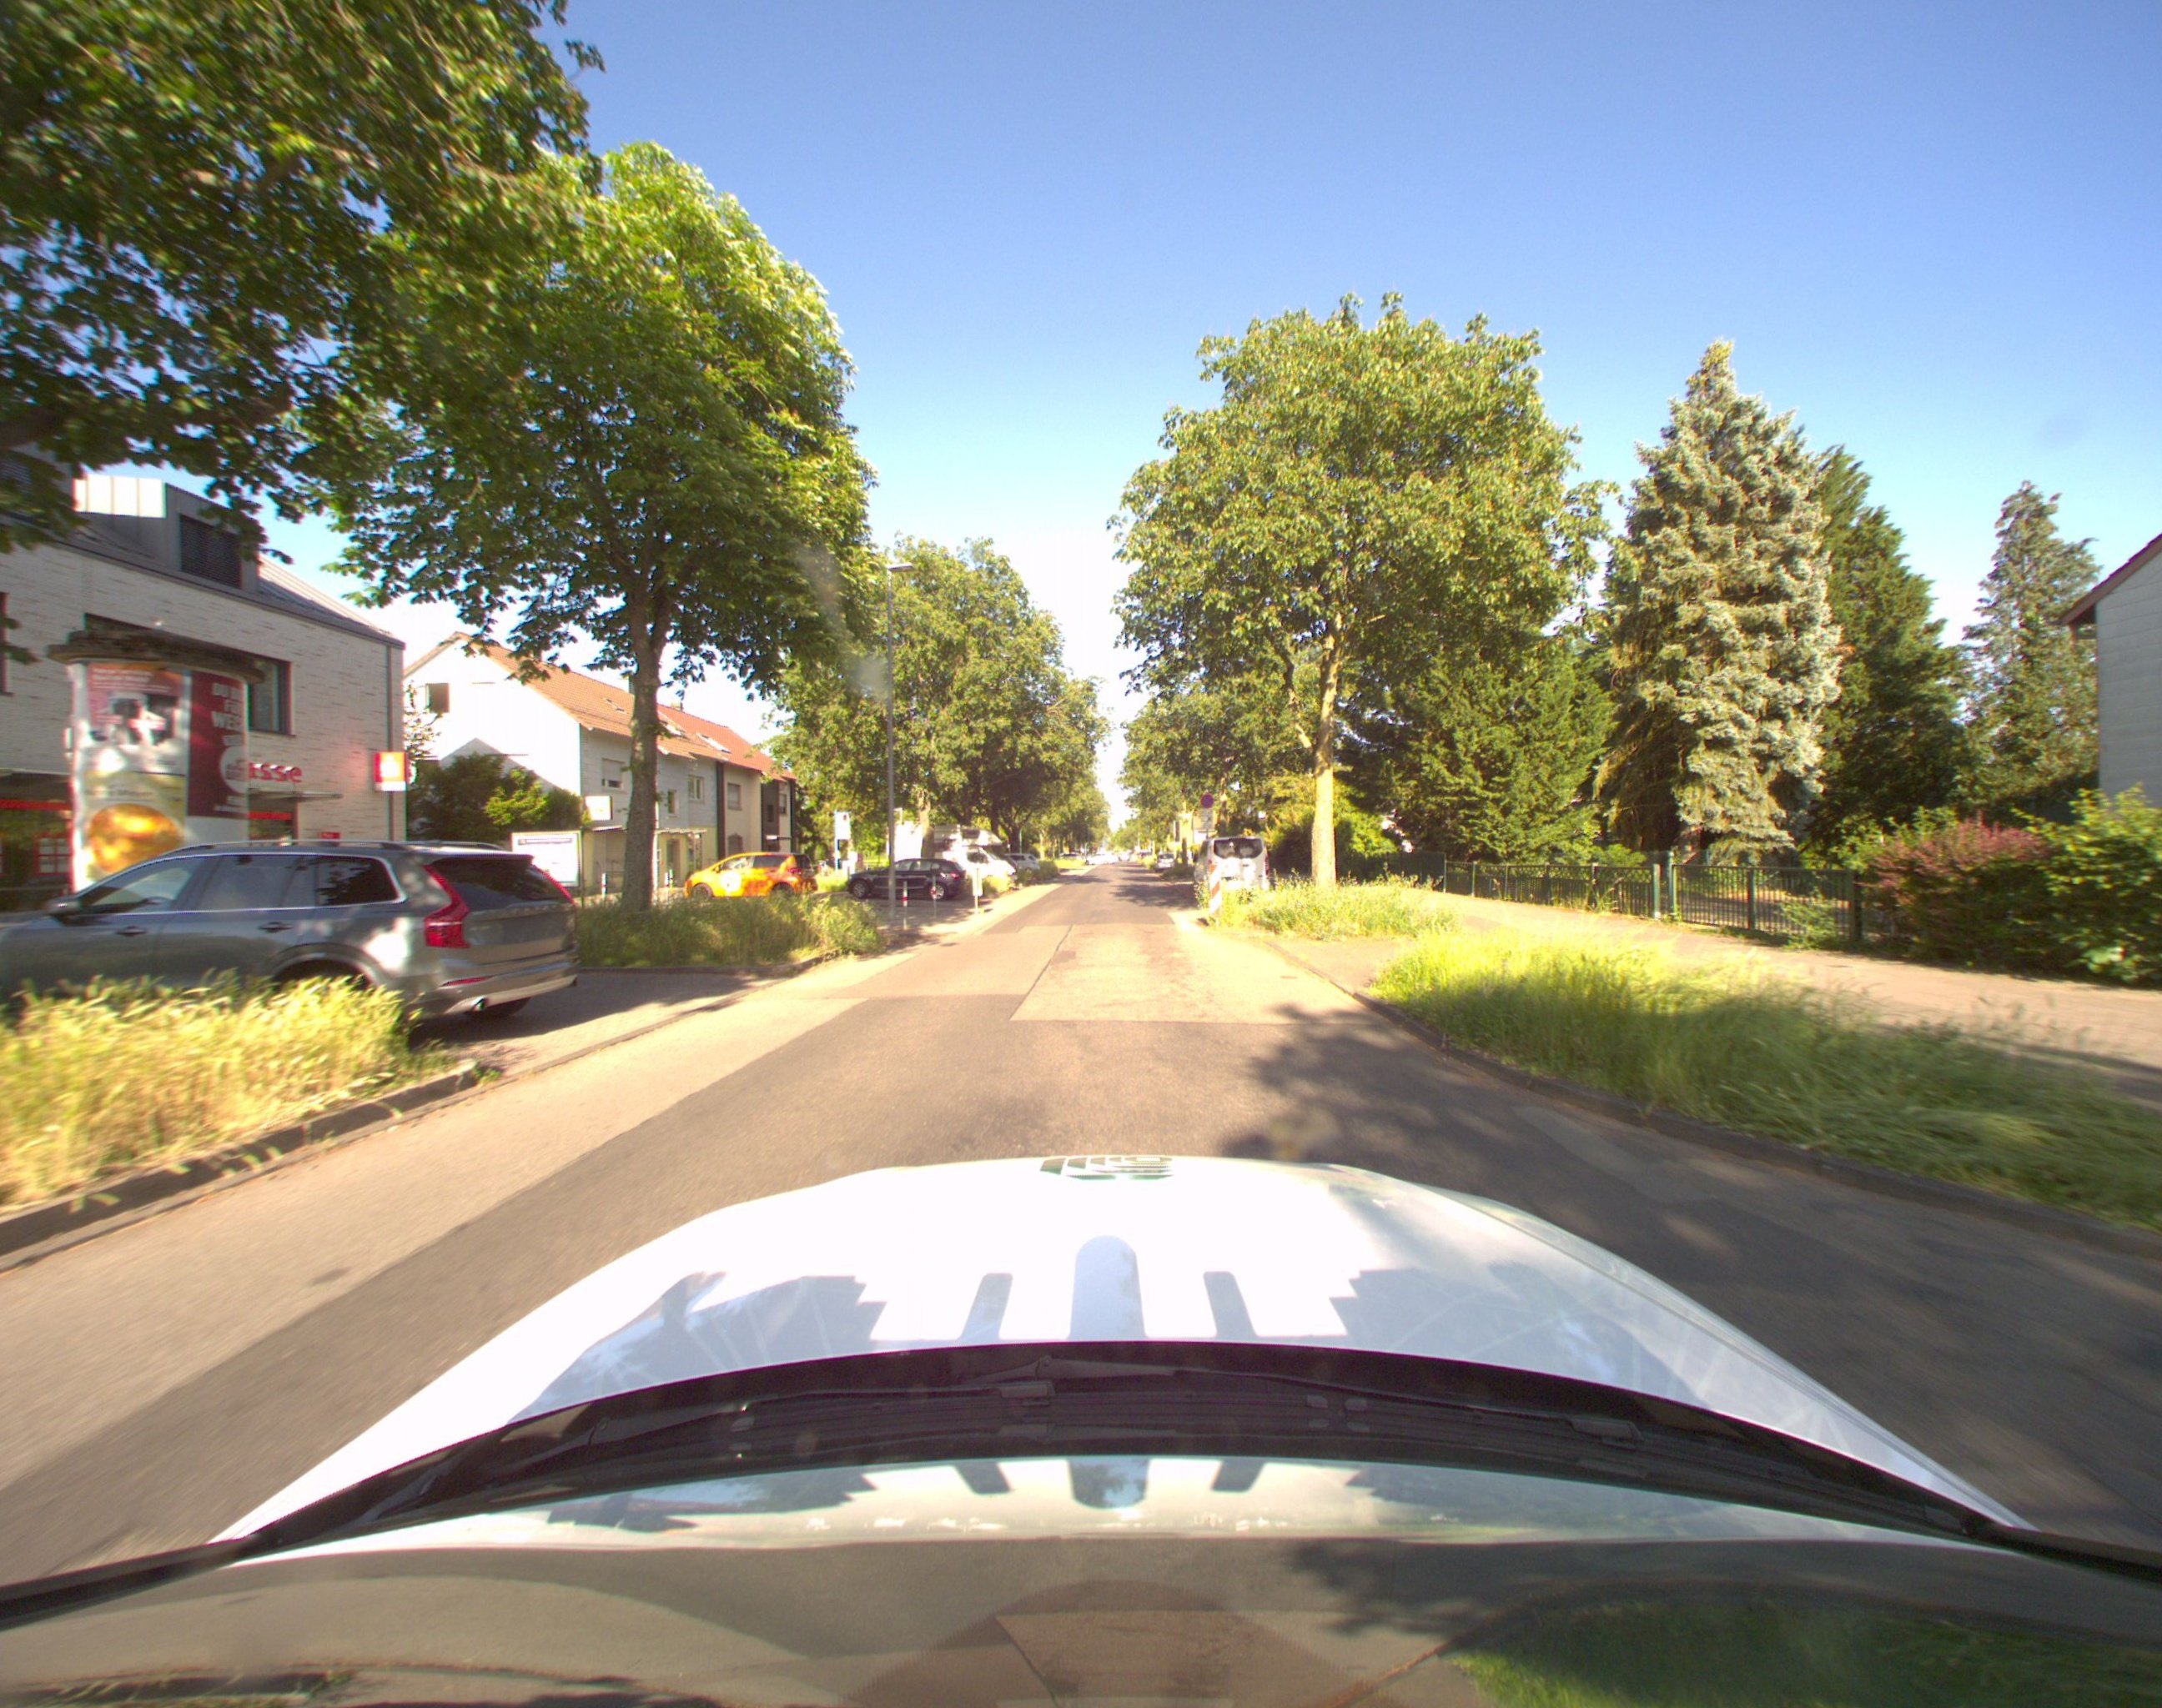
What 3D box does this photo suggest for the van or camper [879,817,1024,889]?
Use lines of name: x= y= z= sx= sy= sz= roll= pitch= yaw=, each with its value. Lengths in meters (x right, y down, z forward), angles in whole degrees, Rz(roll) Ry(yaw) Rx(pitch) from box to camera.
van or camper: x=-5.529 y=-0.027 z=35.142 sx=5.749 sy=2.805 sz=2.002 roll=2 pitch=-1 yaw=4

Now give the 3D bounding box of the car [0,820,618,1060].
car: x=-7.322 y=0.655 z=7.327 sx=5.047 sy=1.728 sz=1.999 roll=2 pitch=0 yaw=-2

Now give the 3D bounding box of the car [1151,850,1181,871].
car: x=6.676 y=0.514 z=63.487 sx=1.981 sy=1.510 sz=4.011 roll=-2 pitch=-1 yaw=10

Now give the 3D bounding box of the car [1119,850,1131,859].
car: x=7.948 y=0.133 z=147.992 sx=1.988 sy=1.508 sz=3.656 roll=2 pitch=0 yaw=-1

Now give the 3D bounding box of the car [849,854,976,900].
car: x=-5.807 y=0.779 z=28.320 sx=3.967 sy=1.450 sz=1.642 roll=1 pitch=-1 yaw=5

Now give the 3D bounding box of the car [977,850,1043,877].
car: x=-4.480 y=0.576 z=51.856 sx=3.972 sy=1.661 sz=1.967 roll=0 pitch=0 yaw=1

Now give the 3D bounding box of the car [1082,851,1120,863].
car: x=2.438 y=0.332 z=99.574 sx=4.171 sy=1.455 sz=2.012 roll=-1 pitch=0 yaw=28

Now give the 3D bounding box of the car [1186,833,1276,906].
car: x=4.657 y=0.461 z=26.027 sx=1.986 sy=2.013 sz=5.198 roll=2 pitch=0 yaw=1

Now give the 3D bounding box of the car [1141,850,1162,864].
car: x=8.881 y=0.360 z=103.280 sx=1.989 sy=1.622 sz=4.376 roll=2 pitch=0 yaw=-3

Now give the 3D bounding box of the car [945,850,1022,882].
car: x=-5.472 y=0.650 z=45.862 sx=3.972 sy=1.589 sz=2.001 roll=2 pitch=0 yaw=1

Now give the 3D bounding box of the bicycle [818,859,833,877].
bicycle: x=-17.954 y=0.959 z=57.197 sx=0.705 sy=1.176 sz=4.038 roll=-1 pitch=1 yaw=-13

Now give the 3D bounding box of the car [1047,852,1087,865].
car: x=-1.621 y=0.504 z=98.082 sx=4.651 sy=1.503 sz=2.002 roll=0 pitch=0 yaw=4

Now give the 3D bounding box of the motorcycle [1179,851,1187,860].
motorcycle: x=13.201 y=0.185 z=105.882 sx=0.814 sy=1.227 sz=2.353 roll=-2 pitch=0 yaw=2

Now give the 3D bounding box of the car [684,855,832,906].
car: x=-10.222 y=0.825 z=26.005 sx=3.978 sy=1.542 sz=1.868 roll=0 pitch=0 yaw=-3
